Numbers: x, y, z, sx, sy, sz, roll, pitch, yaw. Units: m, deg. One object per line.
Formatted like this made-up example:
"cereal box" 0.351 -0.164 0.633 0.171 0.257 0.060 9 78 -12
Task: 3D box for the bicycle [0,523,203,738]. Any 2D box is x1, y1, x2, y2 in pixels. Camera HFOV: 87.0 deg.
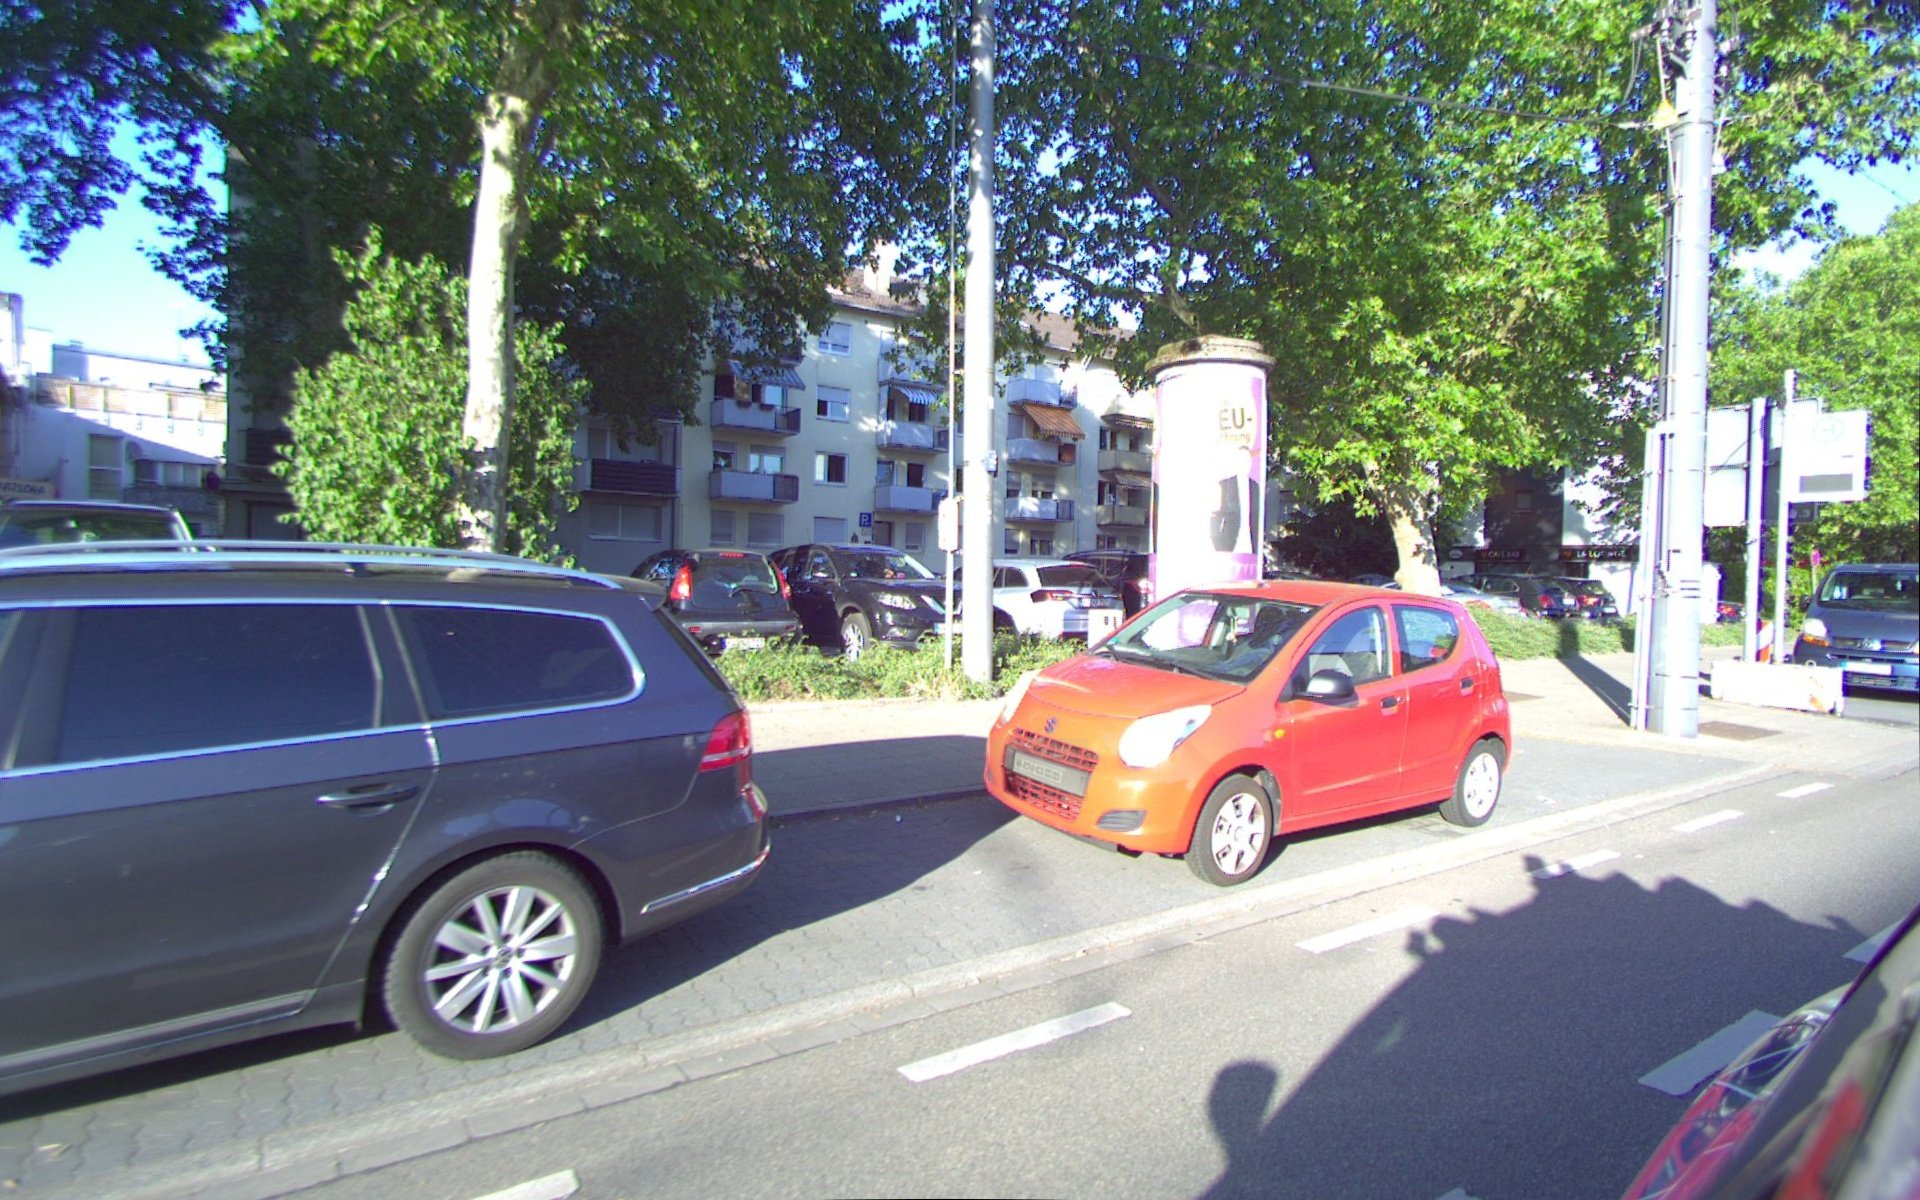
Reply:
"bicycle" -5.695 0.154 6.326 1.557 1.242 0.646 2 1 9

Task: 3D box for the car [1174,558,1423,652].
"car" 6.077 0.010 18.629 1.767 1.513 4.129 0 2 -33

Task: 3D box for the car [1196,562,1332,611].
"car" 10.741 -0.513 36.020 1.963 1.553 4.294 0 2 -37

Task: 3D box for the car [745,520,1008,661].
"car" -1.289 -0.081 13.868 1.821 1.621 4.033 0 -1 -35

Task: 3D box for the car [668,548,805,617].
"car" -5.580 -0.481 24.877 1.961 1.553 4.065 0 2 -34

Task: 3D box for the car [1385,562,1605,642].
"car" 12.181 -0.024 23.308 1.767 1.618 4.129 0 2 -33

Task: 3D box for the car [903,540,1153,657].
"car" 0.887 0.005 15.241 1.820 1.514 3.854 0 -1 -33

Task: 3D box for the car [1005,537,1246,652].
"car" 2.587 -0.090 16.652 1.820 1.652 3.854 0 0 -33

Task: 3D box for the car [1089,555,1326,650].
"car" 4.188 0.063 17.663 1.767 1.455 3.854 2 -1 -33

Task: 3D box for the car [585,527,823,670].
"car" -3.295 0.013 12.587 1.740 1.502 3.508 0 -1 -35

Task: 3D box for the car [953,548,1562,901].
"car" 1.891 0.519 6.113 3.556 1.512 1.576 0 4 -34

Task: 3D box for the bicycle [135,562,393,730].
"bicycle" -4.747 0.270 6.913 1.562 1.026 0.647 2 2 18

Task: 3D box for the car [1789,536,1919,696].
"car" 14.216 0.192 14.895 4.475 2.104 1.892 0 2 -34

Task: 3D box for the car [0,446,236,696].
"car" -7.741 -0.168 9.059 1.962 1.731 4.632 0 -1 -35

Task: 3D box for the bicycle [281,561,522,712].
"bicycle" -4.228 0.236 7.670 1.658 1.026 0.647 2 2 18

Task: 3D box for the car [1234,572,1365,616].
"car" 12.581 -0.265 37.720 1.963 1.514 4.294 0 2 -37

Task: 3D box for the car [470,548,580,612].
"car" -11.486 -0.549 26.574 1.961 1.553 4.065 0 2 -34

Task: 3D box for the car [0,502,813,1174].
"car" -2.872 0.501 2.887 4.565 1.549 1.703 0 5 -37

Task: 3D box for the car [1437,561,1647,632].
"car" 14.148 -0.072 24.836 1.767 1.570 4.127 0 0 -33

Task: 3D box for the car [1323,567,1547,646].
"car" 10.301 0.071 22.258 1.767 1.513 4.129 0 2 -33

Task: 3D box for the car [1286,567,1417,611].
"car" 14.979 -0.453 38.880 1.963 1.514 4.294 0 2 -37

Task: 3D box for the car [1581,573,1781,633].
"car" 20.642 0.031 29.122 1.963 1.514 4.294 0 2 -37
